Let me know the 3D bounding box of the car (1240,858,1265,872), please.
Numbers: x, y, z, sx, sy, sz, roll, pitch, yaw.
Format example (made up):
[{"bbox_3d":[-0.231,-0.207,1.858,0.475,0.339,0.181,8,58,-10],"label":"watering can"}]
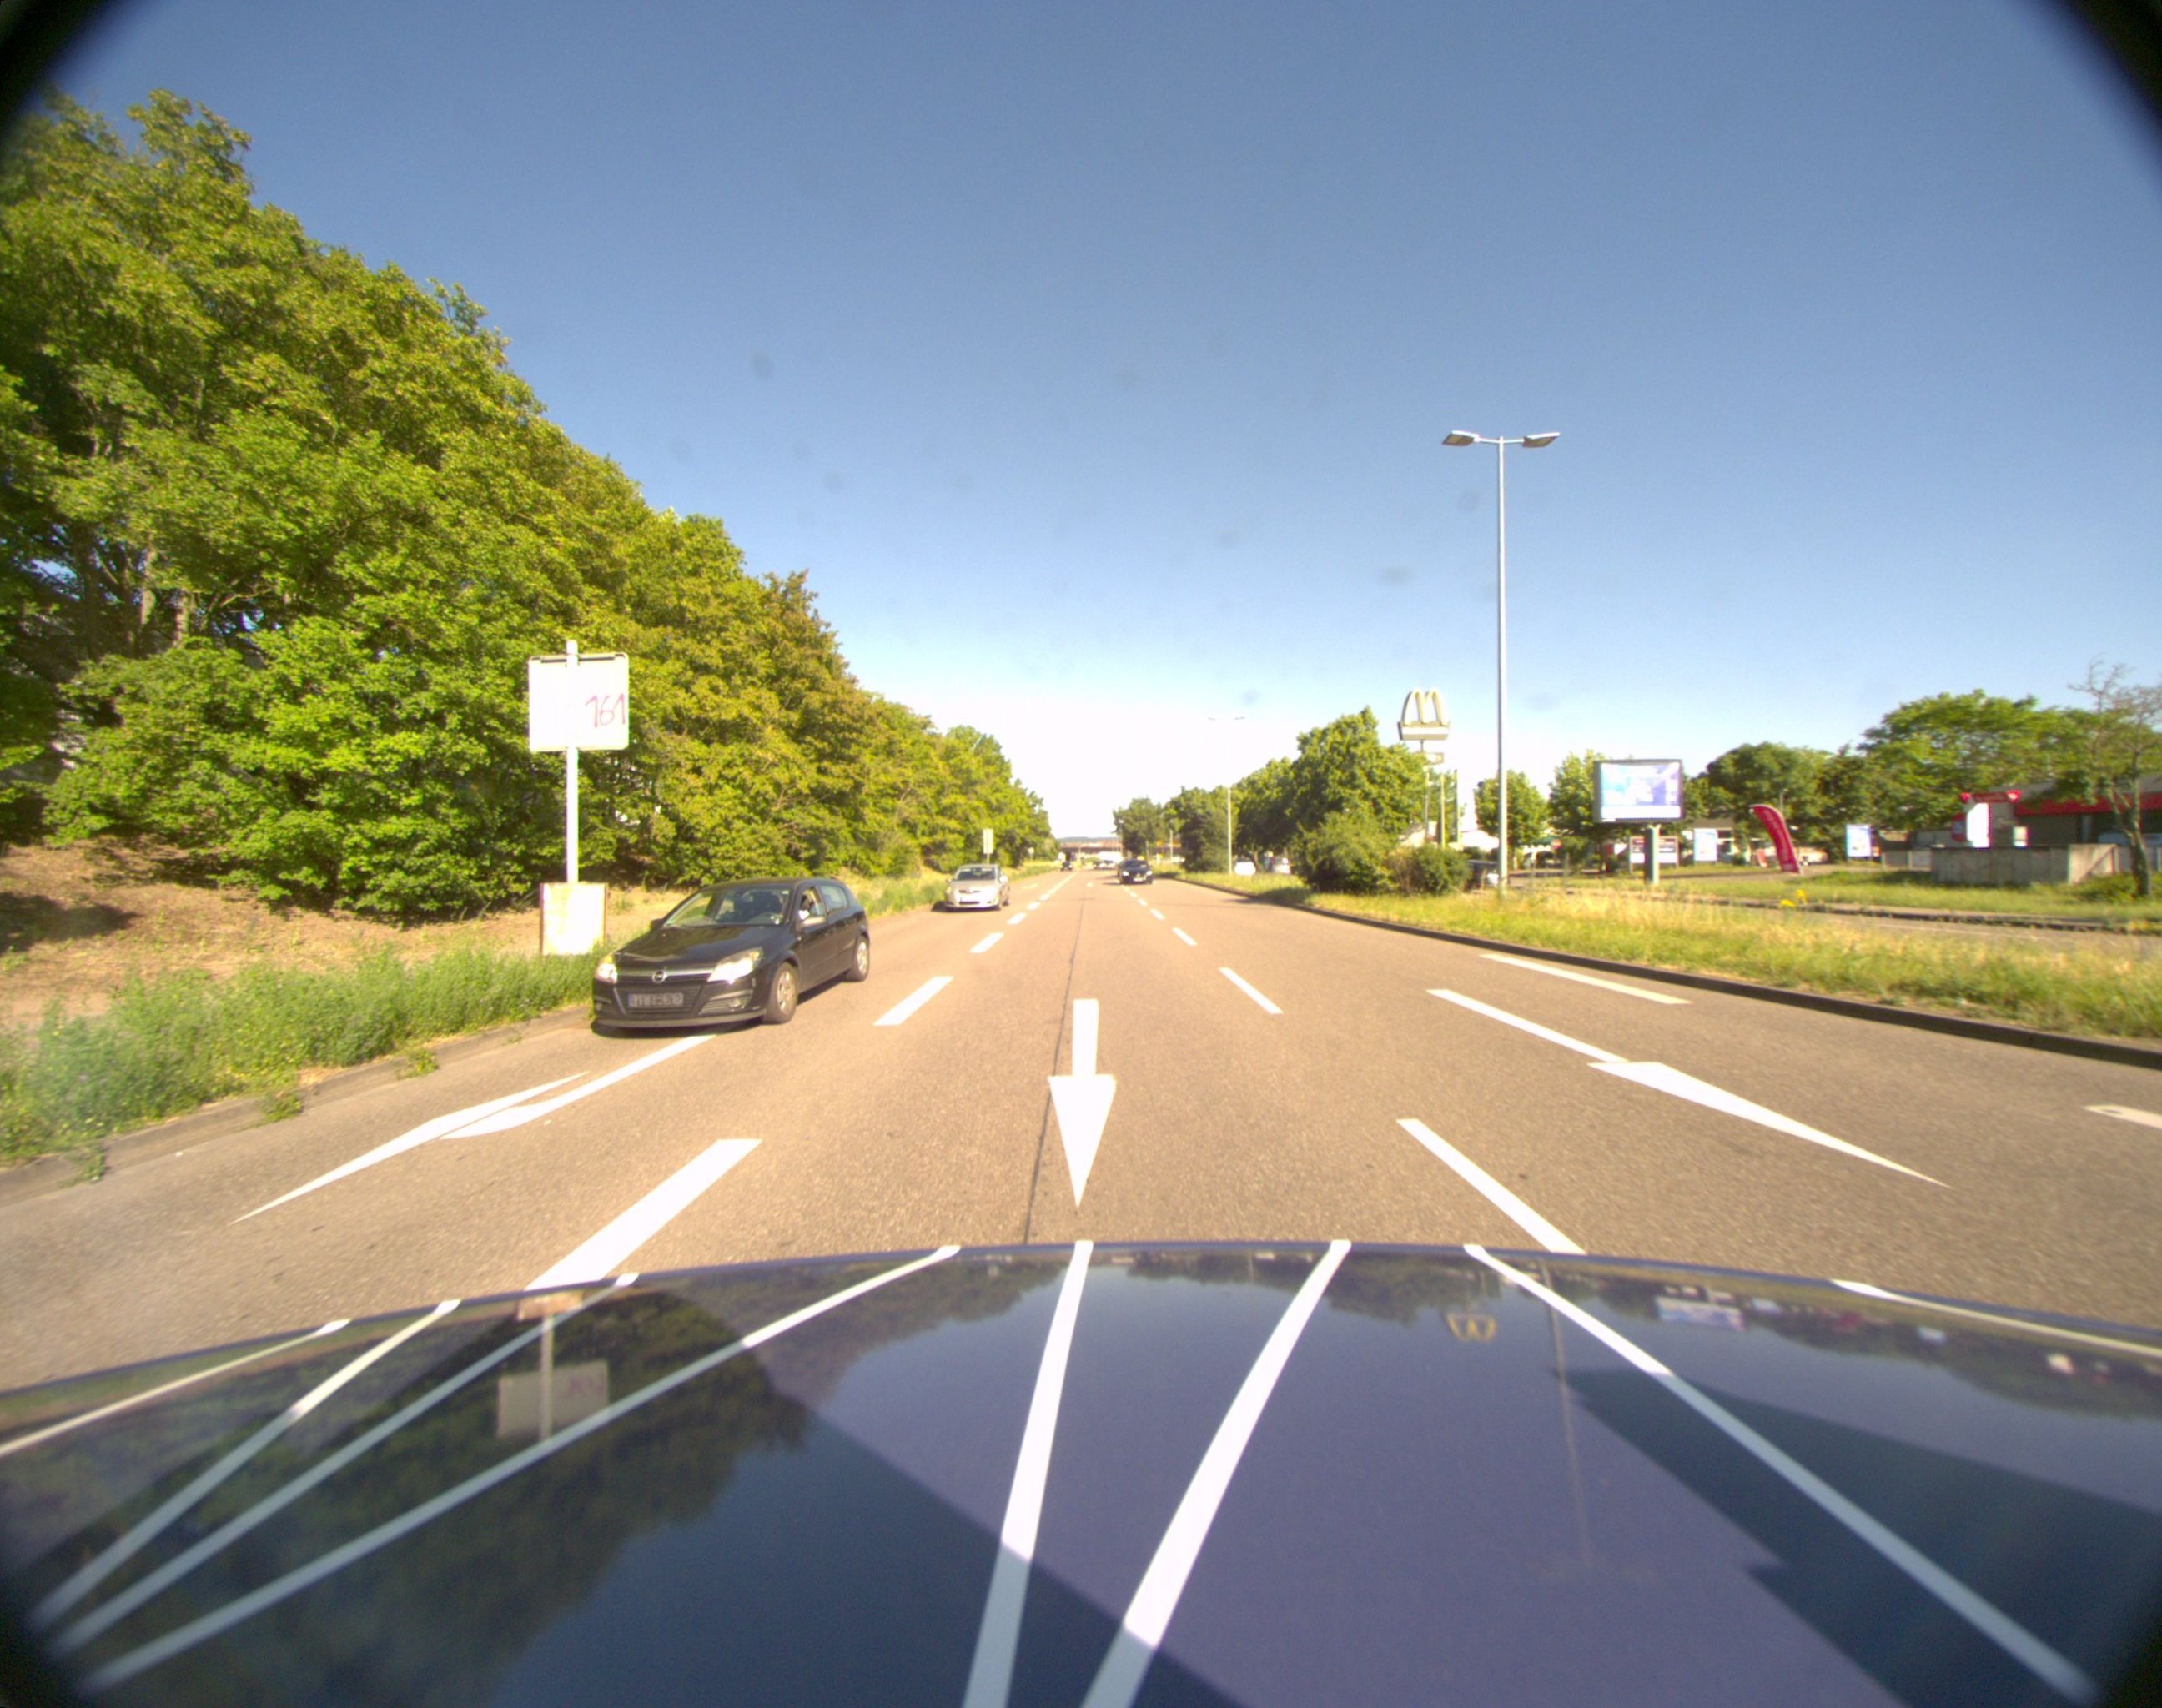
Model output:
[{"bbox_3d":[21.485,1.360,95.314,1.998,1.619,4.771,-2,1,1],"label":"car"}]

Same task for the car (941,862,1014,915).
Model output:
[{"bbox_3d":[-3.370,1.096,25.535,1.788,1.528,4.108,-2,0,1],"label":"car"}]

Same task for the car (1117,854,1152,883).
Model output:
[{"bbox_3d":[3.175,0.815,45.785,1.788,1.592,4.583,-2,0,0],"label":"car"}]

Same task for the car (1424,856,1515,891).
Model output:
[{"bbox_3d":[17.138,0.815,33.765,1.649,1.326,4.681,2,1,1],"label":"car"}]

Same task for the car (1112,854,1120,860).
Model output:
[{"bbox_3d":[9.116,0.753,195.863,1.998,1.433,4.000,-1,0,2],"label":"car"}]

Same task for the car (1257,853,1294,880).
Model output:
[{"bbox_3d":[13.757,0.855,53.842,1.649,1.803,3.706,-2,1,1],"label":"car"}]

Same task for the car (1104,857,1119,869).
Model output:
[{"bbox_3d":[4.507,1.339,113.186,2.025,1.601,4.098,-2,0,1],"label":"car"}]

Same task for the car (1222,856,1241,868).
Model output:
[{"bbox_3d":[22.026,1.153,111.396,1.998,1.542,4.142,-2,1,1],"label":"car"}]

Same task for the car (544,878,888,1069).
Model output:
[{"bbox_3d":[-3.716,1.102,8.759,1.738,1.433,4.371,-2,0,1],"label":"car"}]

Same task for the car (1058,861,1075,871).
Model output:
[{"bbox_3d":[-2.333,1.880,119.951,2.038,1.601,4.095,-2,0,-8],"label":"car"}]
